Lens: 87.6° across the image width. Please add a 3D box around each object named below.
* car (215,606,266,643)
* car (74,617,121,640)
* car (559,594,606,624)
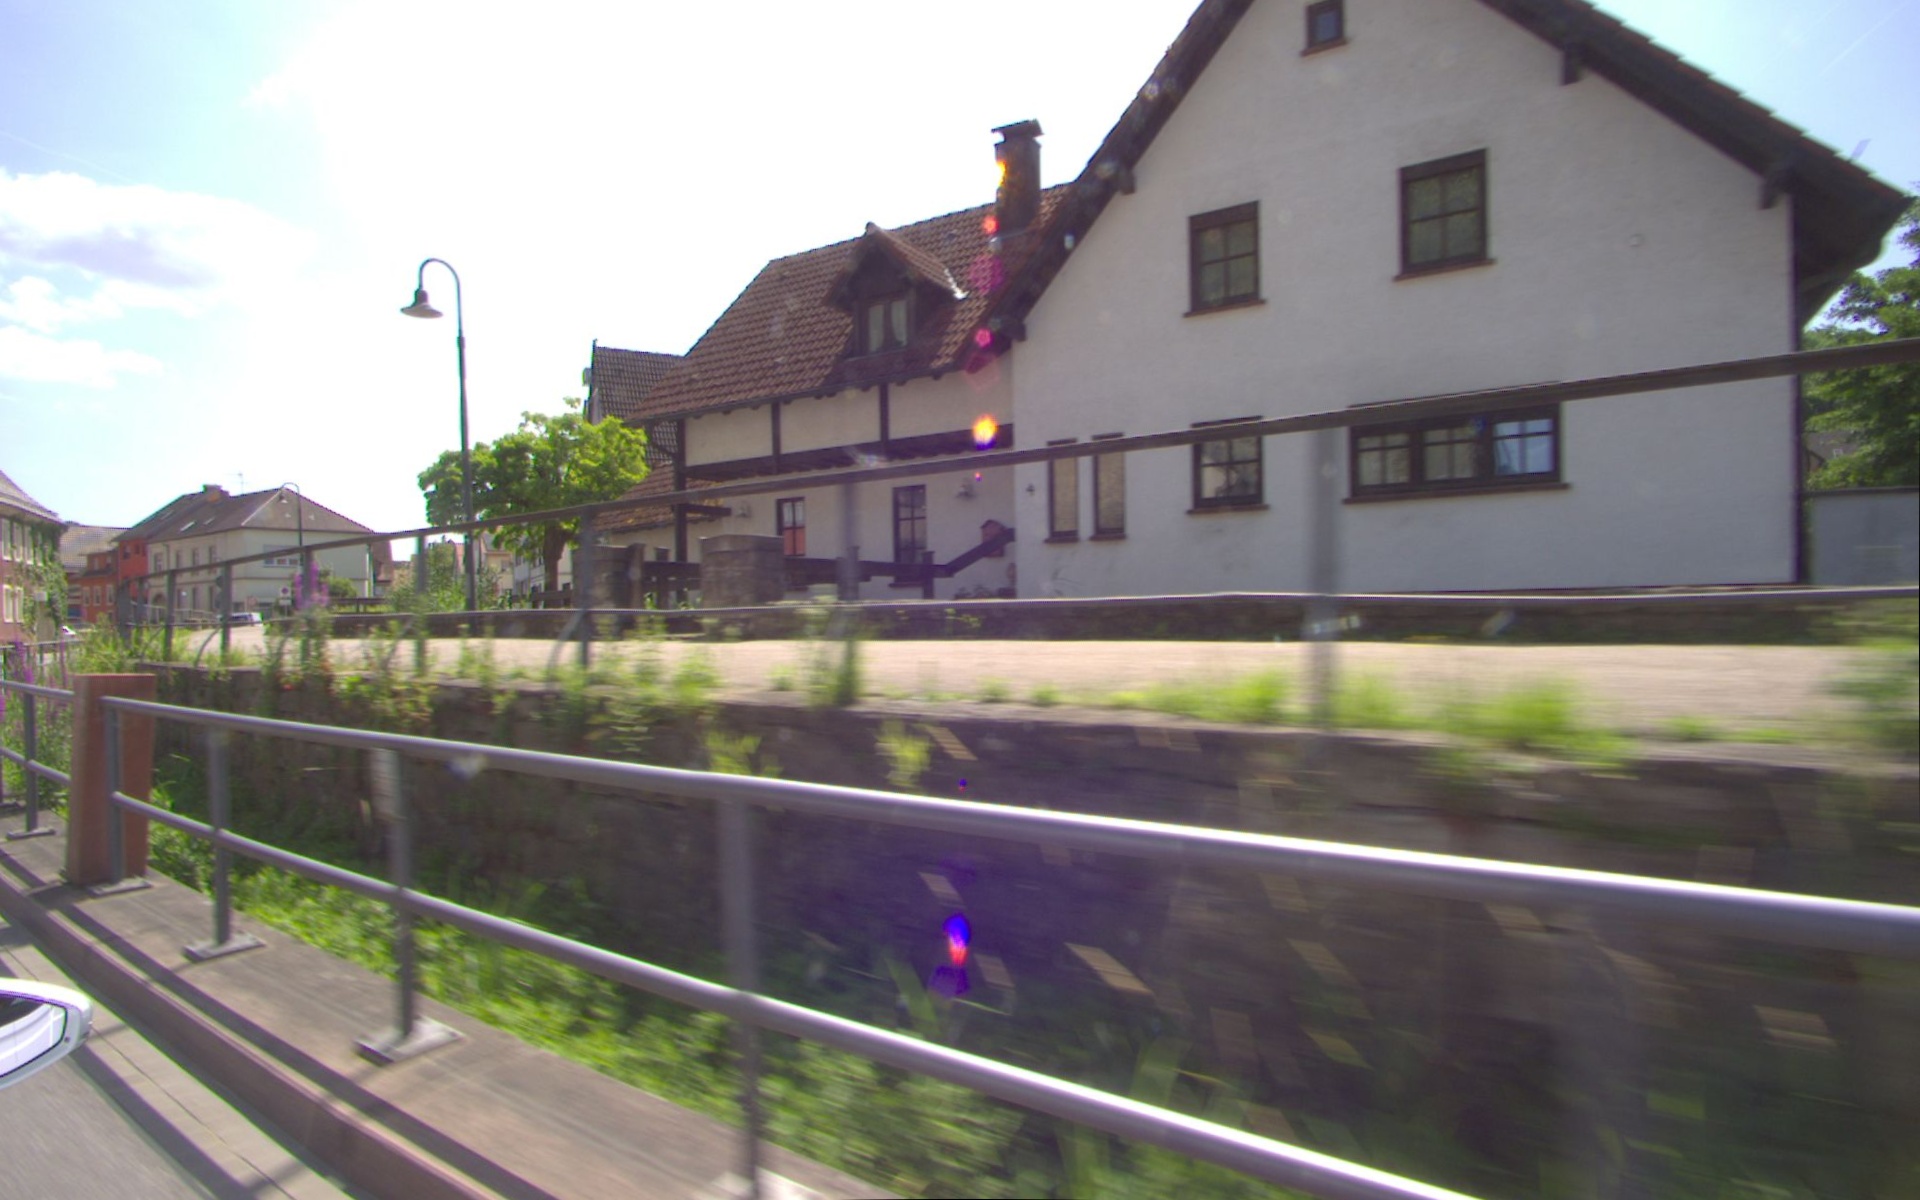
[{"bbox_3d":[-41.861,1.397,58.300,1.875,2.007,3.099,-3,1,-28],"label":"car"},{"bbox_3d":[-72.125,2.365,83.693,3.416,1.742,1.621,-2,1,24],"label":"car"},{"bbox_3d":[-19.349,0.456,51.327,1.647,1.435,3.061,-3,1,-32],"label":"car"}]
